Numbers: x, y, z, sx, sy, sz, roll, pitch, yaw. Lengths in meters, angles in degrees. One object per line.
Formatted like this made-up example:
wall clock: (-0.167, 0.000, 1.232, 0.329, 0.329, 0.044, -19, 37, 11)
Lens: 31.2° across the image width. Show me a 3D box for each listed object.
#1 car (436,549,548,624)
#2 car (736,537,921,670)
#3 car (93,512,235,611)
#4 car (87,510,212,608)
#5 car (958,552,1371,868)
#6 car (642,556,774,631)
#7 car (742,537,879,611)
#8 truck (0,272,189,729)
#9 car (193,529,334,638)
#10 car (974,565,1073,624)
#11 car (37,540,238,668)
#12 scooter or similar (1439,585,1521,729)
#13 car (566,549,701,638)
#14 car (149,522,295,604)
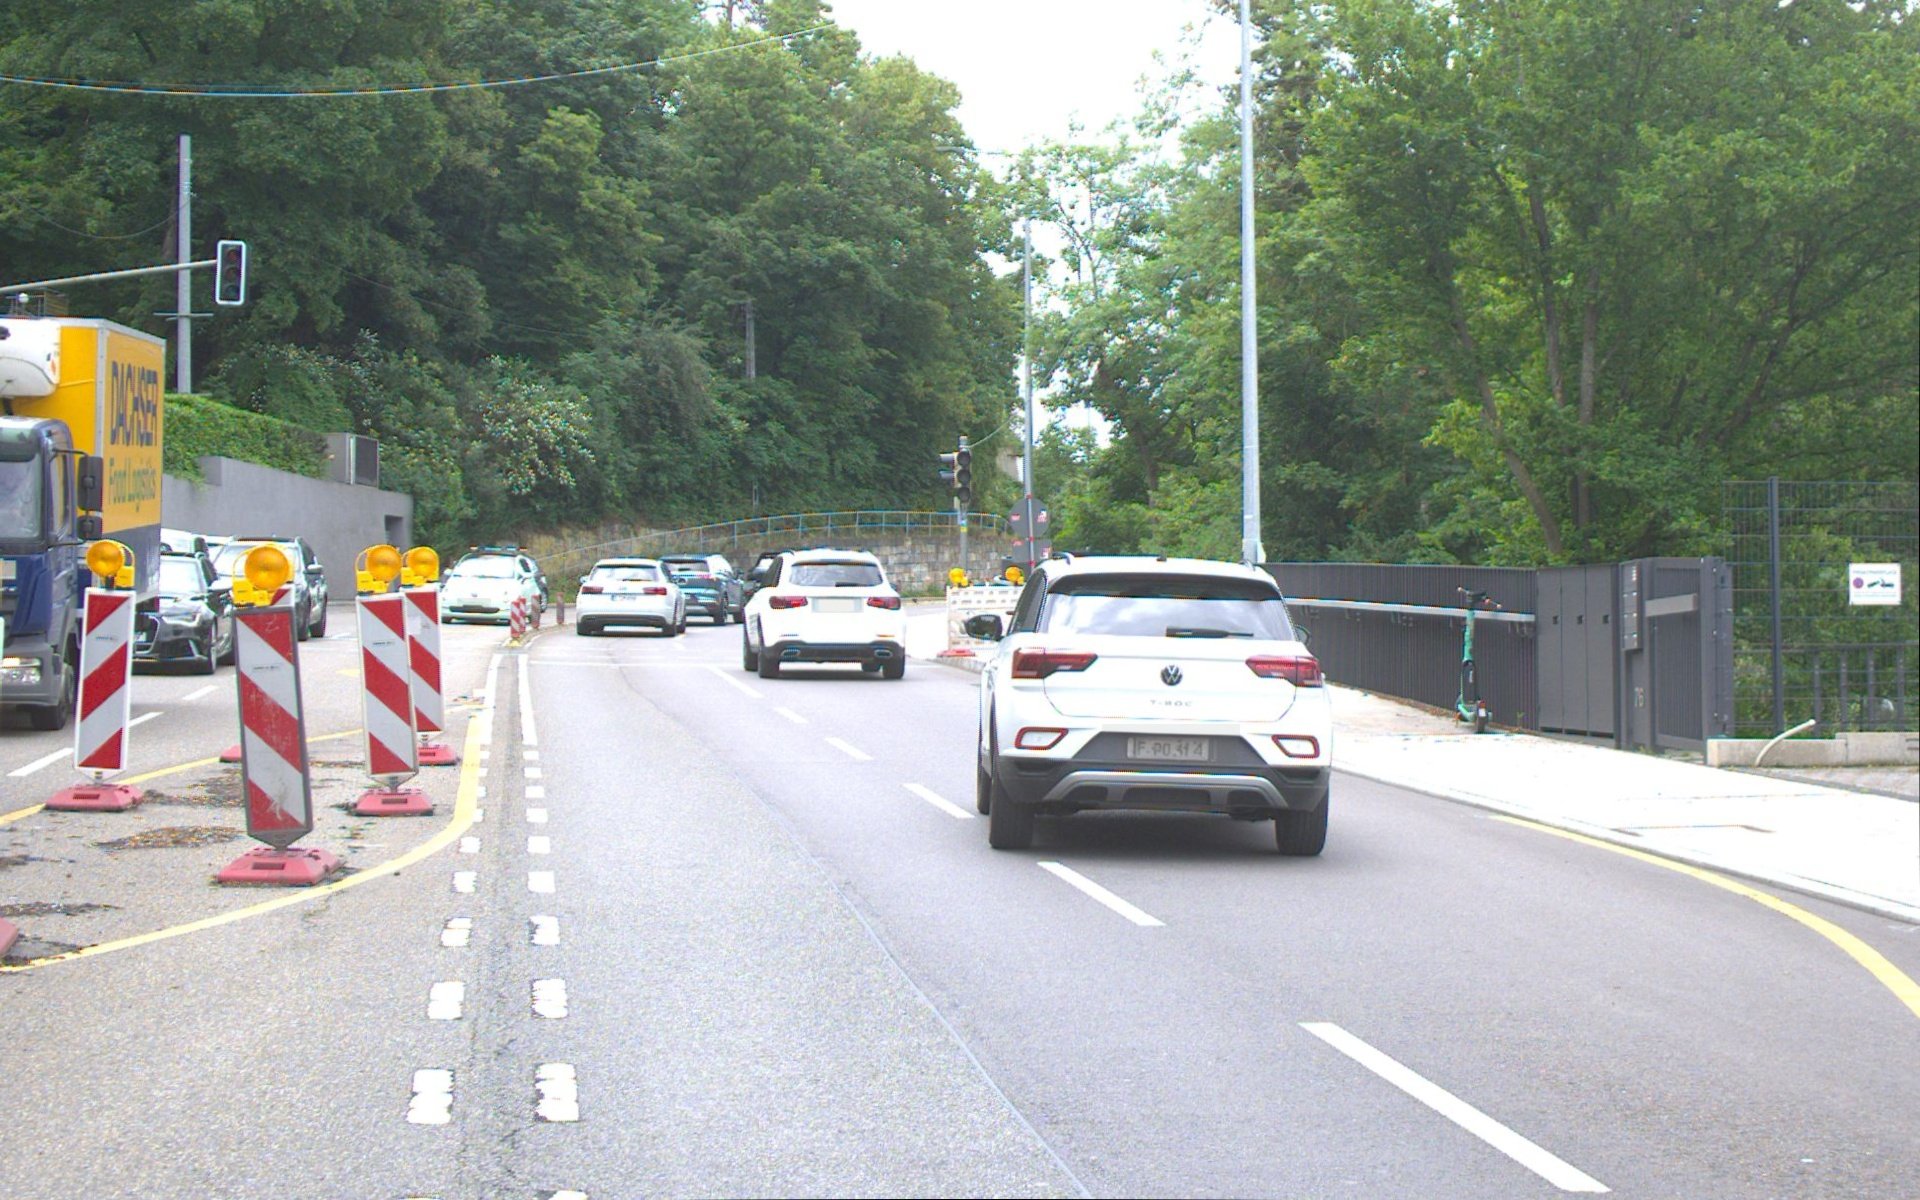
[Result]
car: (-9.761, -0.298, 71.907, 1.711, 1.461, 3.660, 2, 1, 2)
car: (-1.774, 0.022, 45.010, 1.993, 1.581, 4.001, 2, 0, -8)
car: (-15.087, -0.734, 65.382, 1.858, 1.725, 4.762, 3, 0, -5)
car: (-14.419, -0.754, 61.290, 1.710, 1.567, 2.958, 4, 1, -6)
car: (1.017, 0.526, 18.978, 1.867, 1.531, 3.804, 1, 1, -2)
car: (-5.488, -0.140, 75.447, 1.994, 1.535, 4.008, 2, 0, 9)
car: (-3.662, -0.629, 84.894, 1.818, 1.684, 3.995, 3, 0, 22)
truck: (-8.534, -0.820, 29.917, 2.730, 3.498, 7.352, 1, 0, -6)
car: (-11.445, -0.297, 56.735, 1.883, 1.691, 4.672, 1, 1, -7)
car: (1.953, -0.151, 104.520, 1.817, 1.684, 3.996, 3, 0, 19)
car: (-9.993, 0.011, 42.078, 1.809, 1.425, 4.876, 2, 1, -7)
scooter or similar: (4.631, 0.498, 30.678, 0.534, 1.222, 1.206, -1, 2, 0)
car: (-6.198, -0.134, 65.647, 1.907, 1.568, 4.000, 2, 0, 3)
car: (-15.218, -0.746, 71.141, 1.833, 1.567, 4.475, 2, 0, 2)
